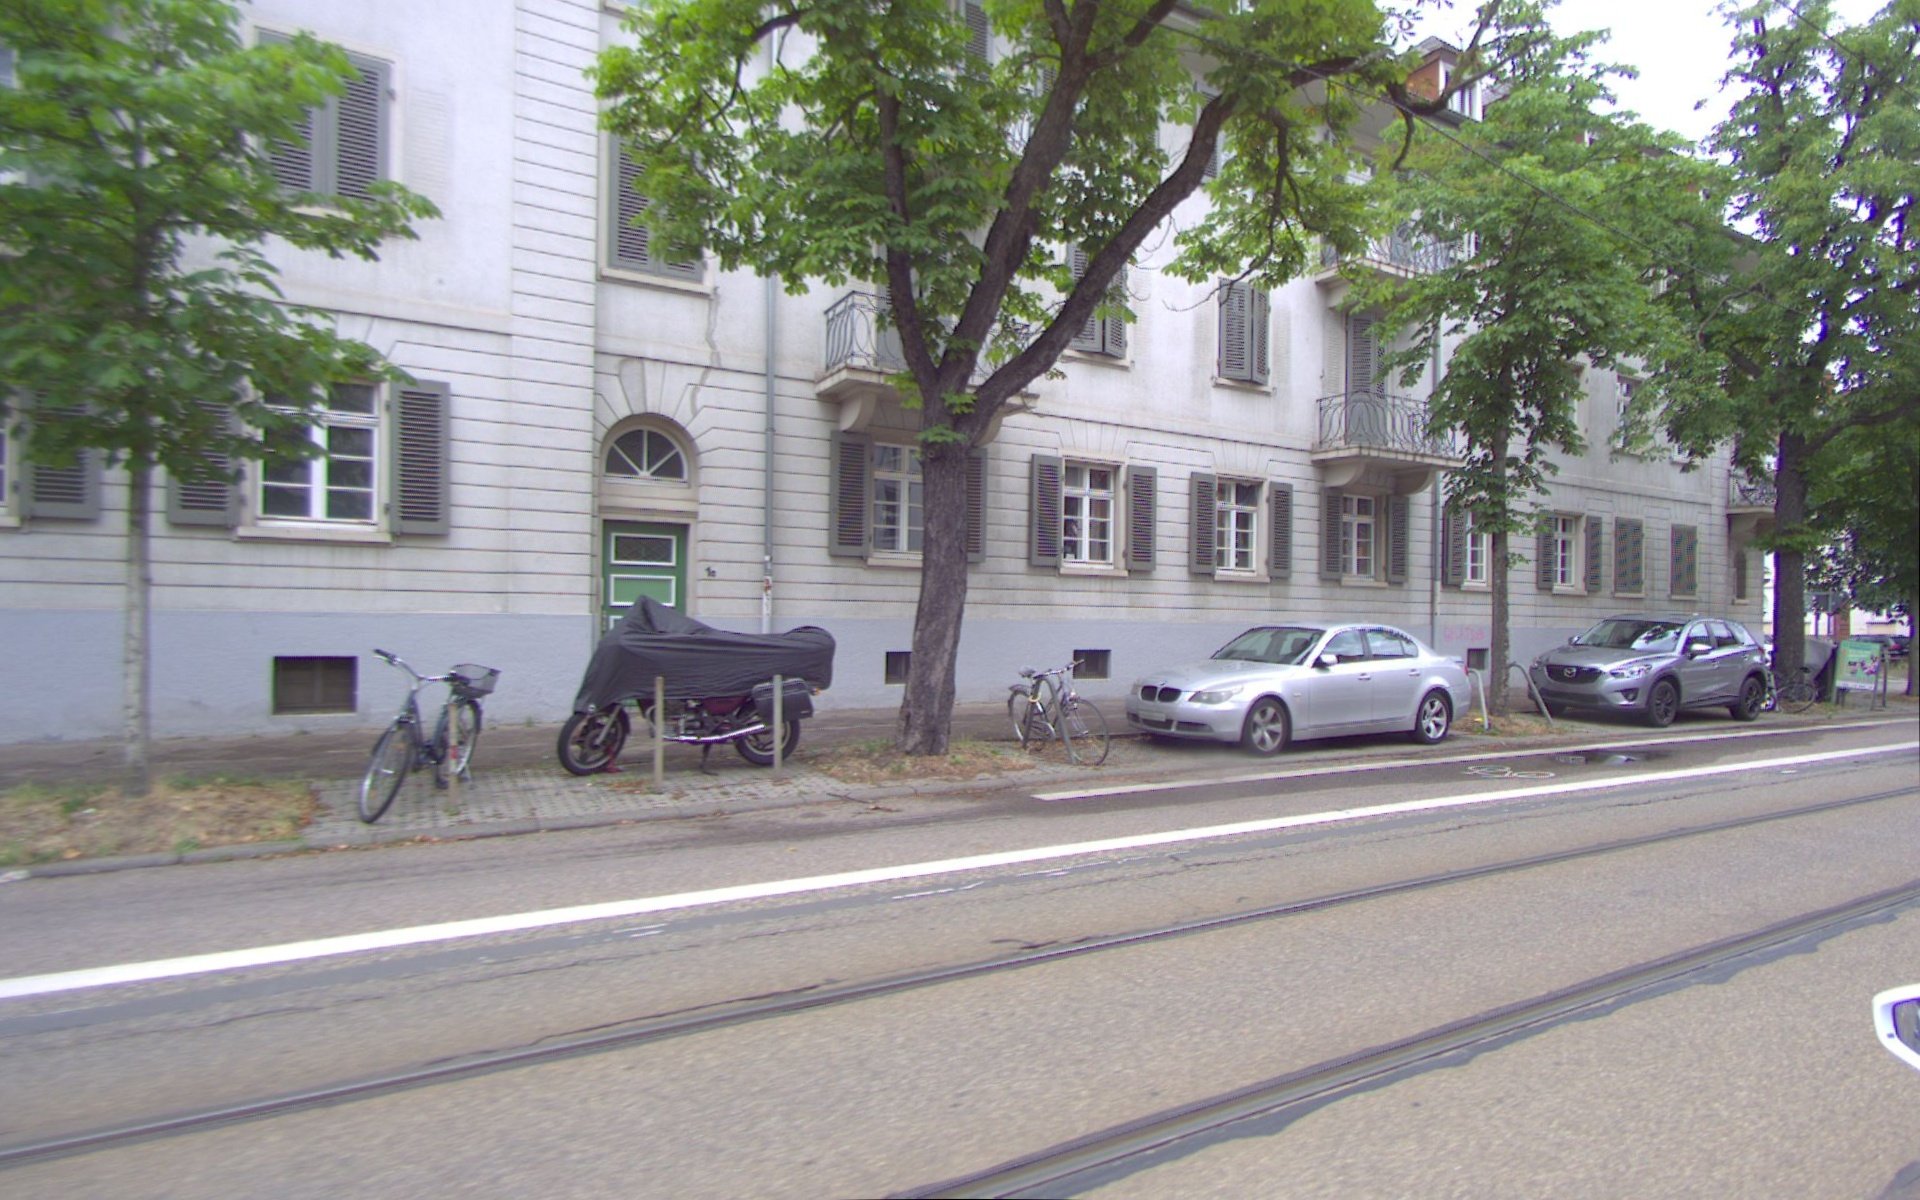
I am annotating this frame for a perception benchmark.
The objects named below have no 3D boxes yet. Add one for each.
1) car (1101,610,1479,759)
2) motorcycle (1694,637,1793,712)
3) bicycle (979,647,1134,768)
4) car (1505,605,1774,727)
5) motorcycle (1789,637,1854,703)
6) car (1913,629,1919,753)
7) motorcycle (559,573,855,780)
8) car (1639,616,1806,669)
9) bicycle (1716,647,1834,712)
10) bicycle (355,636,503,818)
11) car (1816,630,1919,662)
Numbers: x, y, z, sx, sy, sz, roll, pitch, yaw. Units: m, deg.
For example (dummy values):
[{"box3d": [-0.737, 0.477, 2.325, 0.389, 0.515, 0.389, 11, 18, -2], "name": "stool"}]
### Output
[{"box3d": [4.080, 0.918, 12.189, 4.560, 1.485, 1.803, 1, 0, -31], "name": "car"}, {"box3d": [14.043, 1.321, 18.037, 0.540, 1.238, 1.282, 1, 0, -23], "name": "motorcycle"}, {"box3d": [0.965, 1.074, 10.551, 0.558, 1.041, 1.883, 1, 0, -33], "name": "bicycle"}, {"box3d": [10.993, 0.997, 16.213, 4.240, 1.683, 1.829, 1, 1, -29], "name": "car"}, {"box3d": [17.428, 1.390, 20.306, 2.122, 1.274, 0.536, 2, -1, -36], "name": "motorcycle"}, {"box3d": [13.045, 1.079, 11.816, 3.612, 1.427, 1.721, 1, -1, -30], "name": "car"}, {"box3d": [-2.241, 0.649, 8.953, 2.444, 1.665, 0.831, 1, -1, -22], "name": "motorcycle"}, {"box3d": [26.195, 1.408, 34.728, 1.904, 1.685, 4.508, 1, -1, -10], "name": "car"}, {"box3d": [14.808, 1.425, 18.287, 0.917, 1.018, 1.372, 1, 2, -25], "name": "bicycle"}, {"box3d": [-3.997, 0.893, 7.689, 0.509, 1.144, 1.744, 1, 1, -11], "name": "bicycle"}, {"box3d": [46.829, 2.348, 51.879, 1.675, 1.483, 3.941, 1, -1, -6], "name": "car"}]
